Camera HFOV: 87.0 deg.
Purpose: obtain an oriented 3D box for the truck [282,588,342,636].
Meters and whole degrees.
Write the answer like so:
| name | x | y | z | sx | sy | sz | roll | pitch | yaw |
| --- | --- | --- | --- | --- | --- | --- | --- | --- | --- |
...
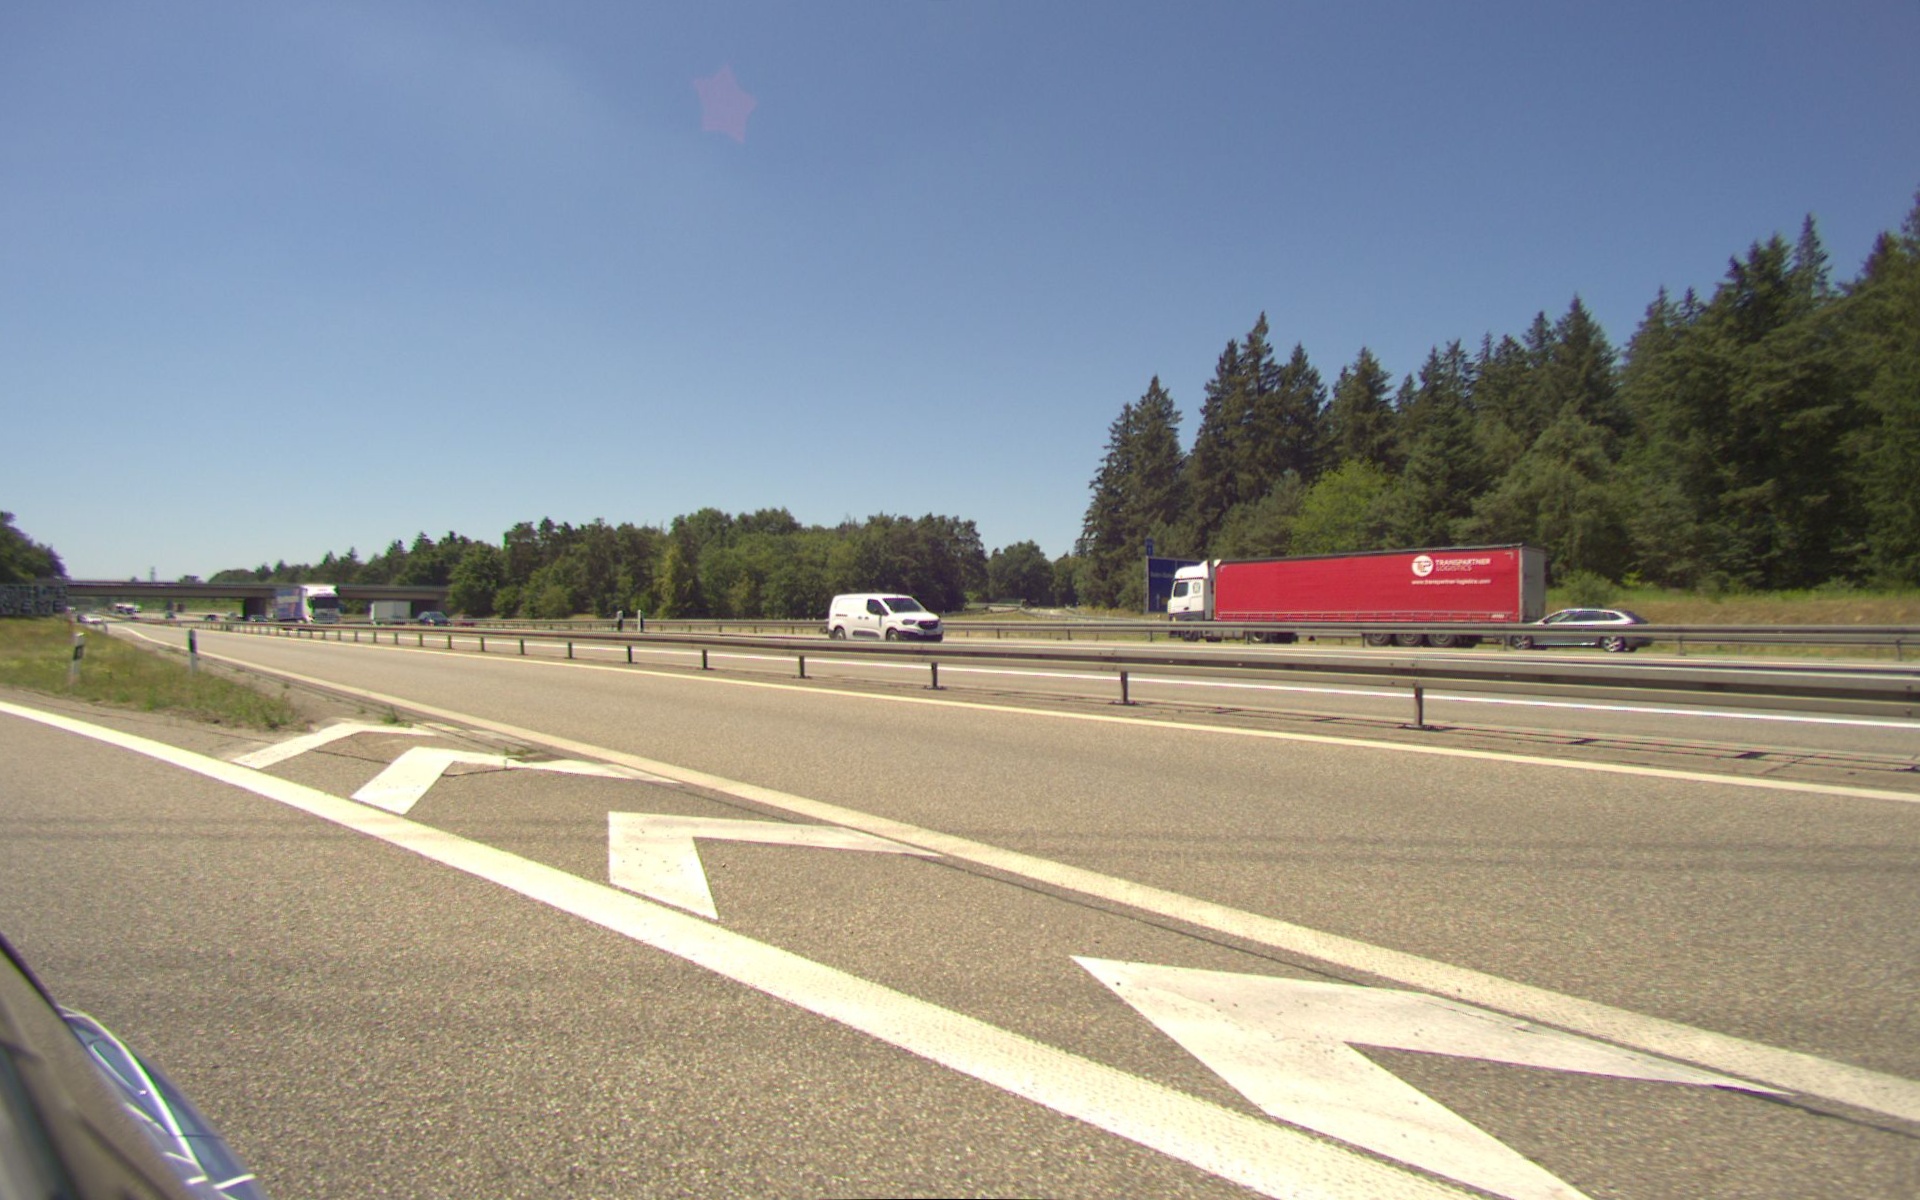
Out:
| name | x | y | z | sx | sy | sz | roll | pitch | yaw |
| --- | --- | --- | --- | --- | --- | --- | --- | --- | --- |
| truck | -58.406 | 1.152 | 91.022 | 2.670 | 4.089 | 11.059 | 0 | -1 | -43 |

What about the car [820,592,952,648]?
| name | x | y | z | sx | sy | sz | roll | pitch | yaw |
| --- | --- | --- | --- | --- | --- | --- | --- | --- | --- |
| car | -2.585 | 0.670 | 34.154 | 1.750 | 1.767 | 5.026 | 0 | -1 | -42 |

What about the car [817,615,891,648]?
| name | x | y | z | sx | sy | sz | roll | pitch | yaw |
| --- | --- | --- | --- | --- | --- | --- | --- | --- | --- |
| car | -6.142 | 1.784 | 58.194 | 1.750 | 1.696 | 4.831 | 0 | 0 | -42 |

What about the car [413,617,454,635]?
| name | x | y | z | sx | sy | sz | roll | pitch | yaw |
| --- | --- | --- | --- | --- | --- | --- | --- | --- | --- |
| car | -45.373 | 2.220 | 87.224 | 1.970 | 1.487 | 4.245 | 0 | -1 | -44 |

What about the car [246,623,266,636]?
| name | x | y | z | sx | sy | sz | roll | pitch | yaw |
| --- | --- | --- | --- | --- | --- | --- | --- | --- | --- |
| car | -100.362 | 4.195 | 144.227 | 1.969 | 1.730 | 4.006 | 0 | -1 | -41 |

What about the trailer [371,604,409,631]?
| name | x | y | z | sx | sy | sz | roll | pitch | yaw |
| --- | --- | --- | --- | --- | --- | --- | --- | --- | --- |
| trailer | -97.782 | 3.075 | 173.557 | 2.888 | 4.421 | 14.320 | 3 | -3 | -40 |

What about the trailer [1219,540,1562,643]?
| name | x | y | z | sx | sy | sz | roll | pitch | yaw |
| --- | --- | --- | --- | --- | --- | --- | --- | --- | --- |
| trailer | 17.755 | -0.124 | 43.469 | 2.510 | 3.826 | 13.760 | 0 | -2 | -41 |

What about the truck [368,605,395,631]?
| name | x | y | z | sx | sy | sz | roll | pitch | yaw |
| --- | --- | --- | --- | --- | --- | --- | --- | --- | --- |
| truck | -102.236 | 3.131 | 178.885 | 2.902 | 4.426 | 6.281 | 3 | -3 | -40 |

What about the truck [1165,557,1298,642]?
| name | x | y | z | sx | sy | sz | roll | pitch | yaw |
| --- | --- | --- | --- | --- | --- | --- | --- | --- | --- |
| truck | 12.992 | 0.063 | 48.792 | 2.511 | 3.826 | 5.674 | 0 | -2 | -43 |

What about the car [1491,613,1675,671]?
| name | x | y | z | sx | sy | sz | roll | pitch | yaw |
| --- | --- | --- | --- | --- | --- | --- | --- | --- | --- |
| car | 20.436 | 1.310 | 33.356 | 1.892 | 1.696 | 4.831 | 0 | 0 | -42 |

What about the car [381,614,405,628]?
| name | x | y | z | sx | sy | sz | roll | pitch | yaw |
| --- | --- | --- | --- | --- | --- | --- | --- | --- | --- |
| car | -78.377 | 2.917 | 139.873 | 1.969 | 1.863 | 4.364 | 1 | -3 | -41 |

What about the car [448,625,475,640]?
| name | x | y | z | sx | sy | sz | roll | pitch | yaw |
| --- | --- | --- | --- | --- | --- | --- | --- | --- | --- |
| car | -62.478 | 4.066 | 126.902 | 1.937 | 1.741 | 4.004 | 3 | -3 | -43 |
